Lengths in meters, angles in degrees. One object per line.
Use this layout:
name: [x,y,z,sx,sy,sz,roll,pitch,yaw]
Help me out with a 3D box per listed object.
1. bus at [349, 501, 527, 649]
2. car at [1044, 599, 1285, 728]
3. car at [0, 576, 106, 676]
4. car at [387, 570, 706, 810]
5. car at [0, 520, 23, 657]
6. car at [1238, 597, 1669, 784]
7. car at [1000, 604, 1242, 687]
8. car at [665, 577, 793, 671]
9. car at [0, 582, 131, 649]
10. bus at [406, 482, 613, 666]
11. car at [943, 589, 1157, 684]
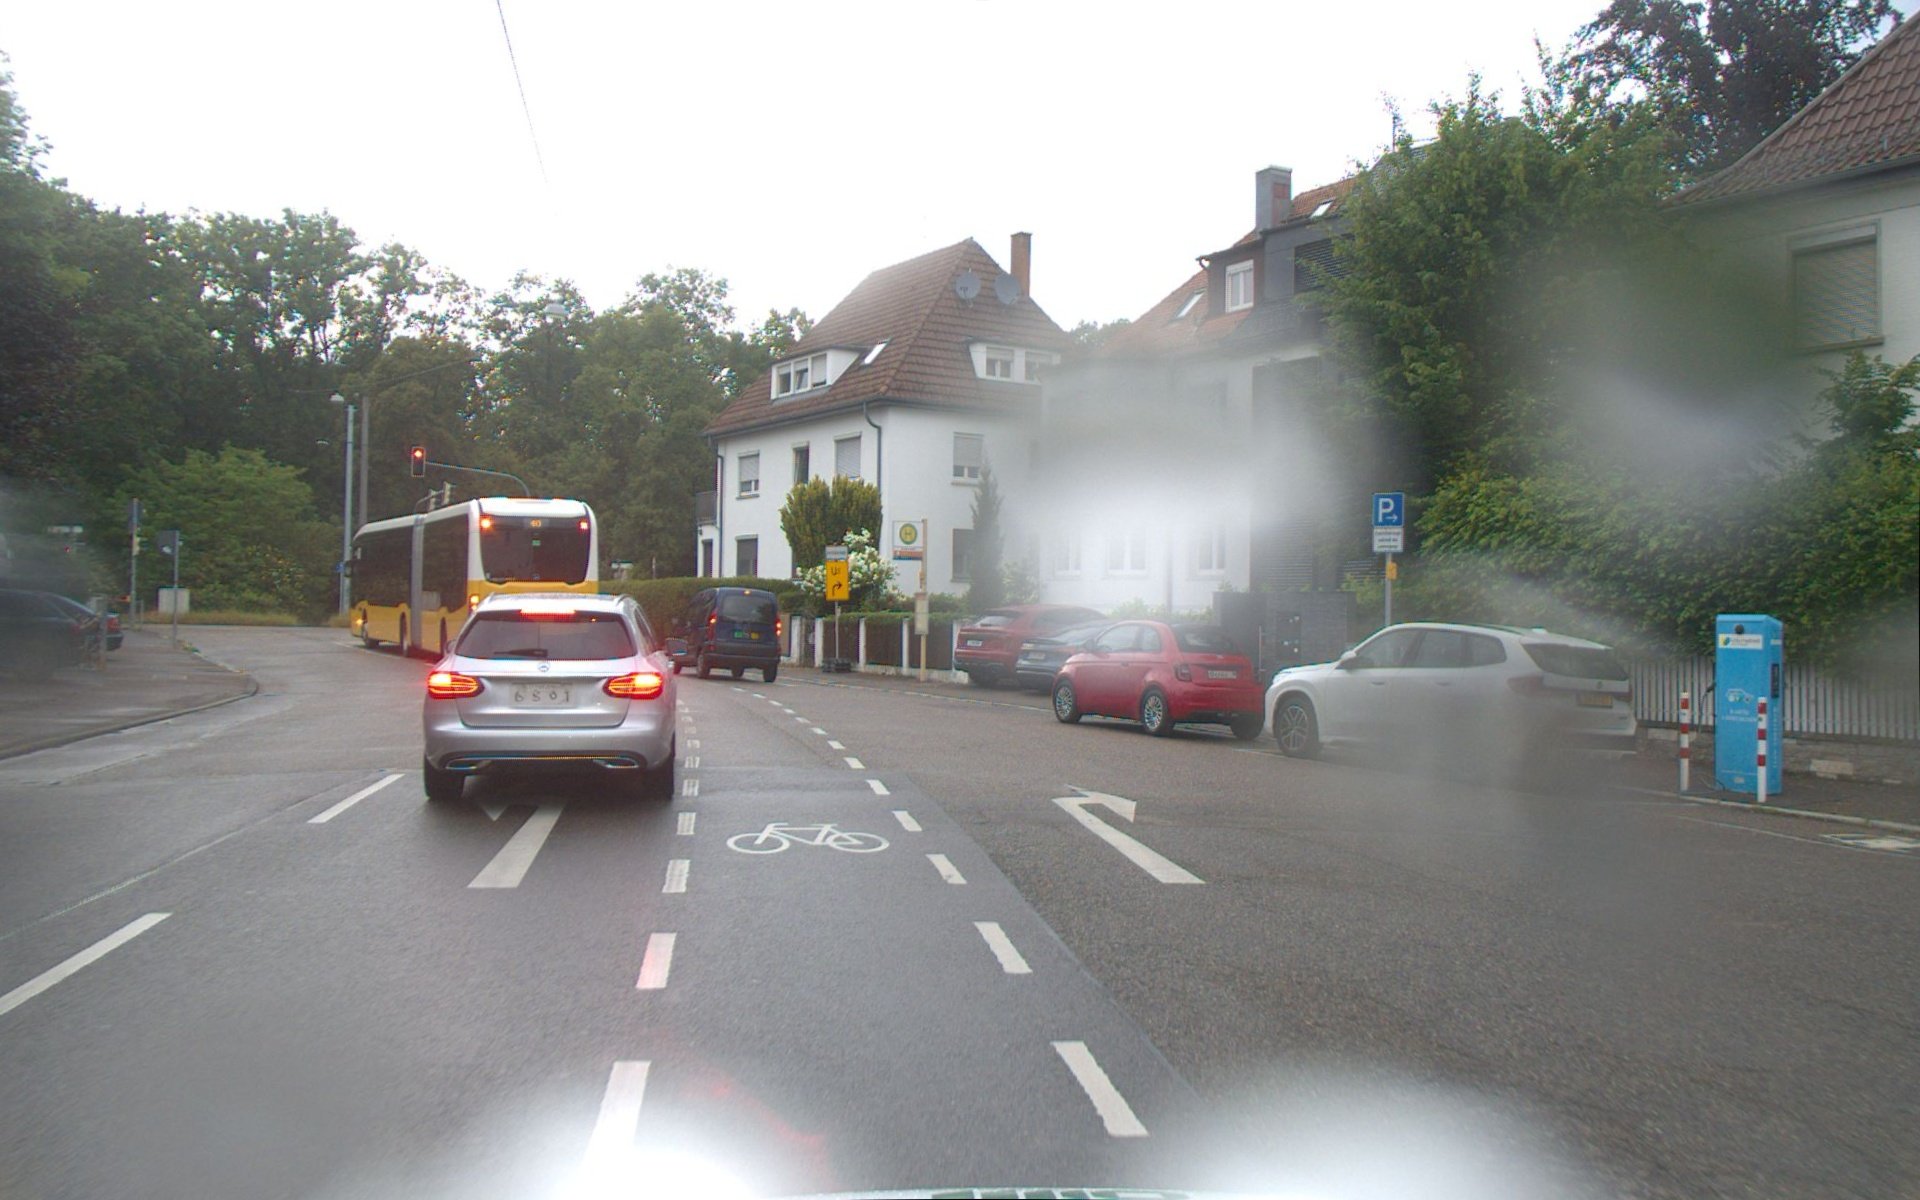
bus: [-13.883,-0.634,43.439,2.866,3.457,8.958,1,0,-28]
car: [2.757,0.839,22.986,1.592,1.564,3.509,3,-1,-27]
car: [-15.814,0.353,25.343,1.763,1.521,4.678,3,0,26]
car: [-3.038,0.546,12.813,1.958,1.505,4.475,1,1,-11]
car: [-19.263,-0.263,31.603,1.970,2.491,5.447,3,-1,-27]
car: [5.255,0.903,18.274,1.726,1.702,4.601,3,-1,-30]
car: [3.161,0.824,32.066,4.511,1.441,1.975,0,1,-36]
car: [-4.903,0.497,34.694,1.783,1.829,3.974,2,-1,-21]
car: [-21.104,0.319,37.514,3.792,1.368,1.779,4,0,-39]
bus: [-9.886,-0.531,35.531,2.644,3.457,8.606,1,0,-26]
car: [1.866,0.700,33.854,4.039,1.781,1.976,0,1,-35]
